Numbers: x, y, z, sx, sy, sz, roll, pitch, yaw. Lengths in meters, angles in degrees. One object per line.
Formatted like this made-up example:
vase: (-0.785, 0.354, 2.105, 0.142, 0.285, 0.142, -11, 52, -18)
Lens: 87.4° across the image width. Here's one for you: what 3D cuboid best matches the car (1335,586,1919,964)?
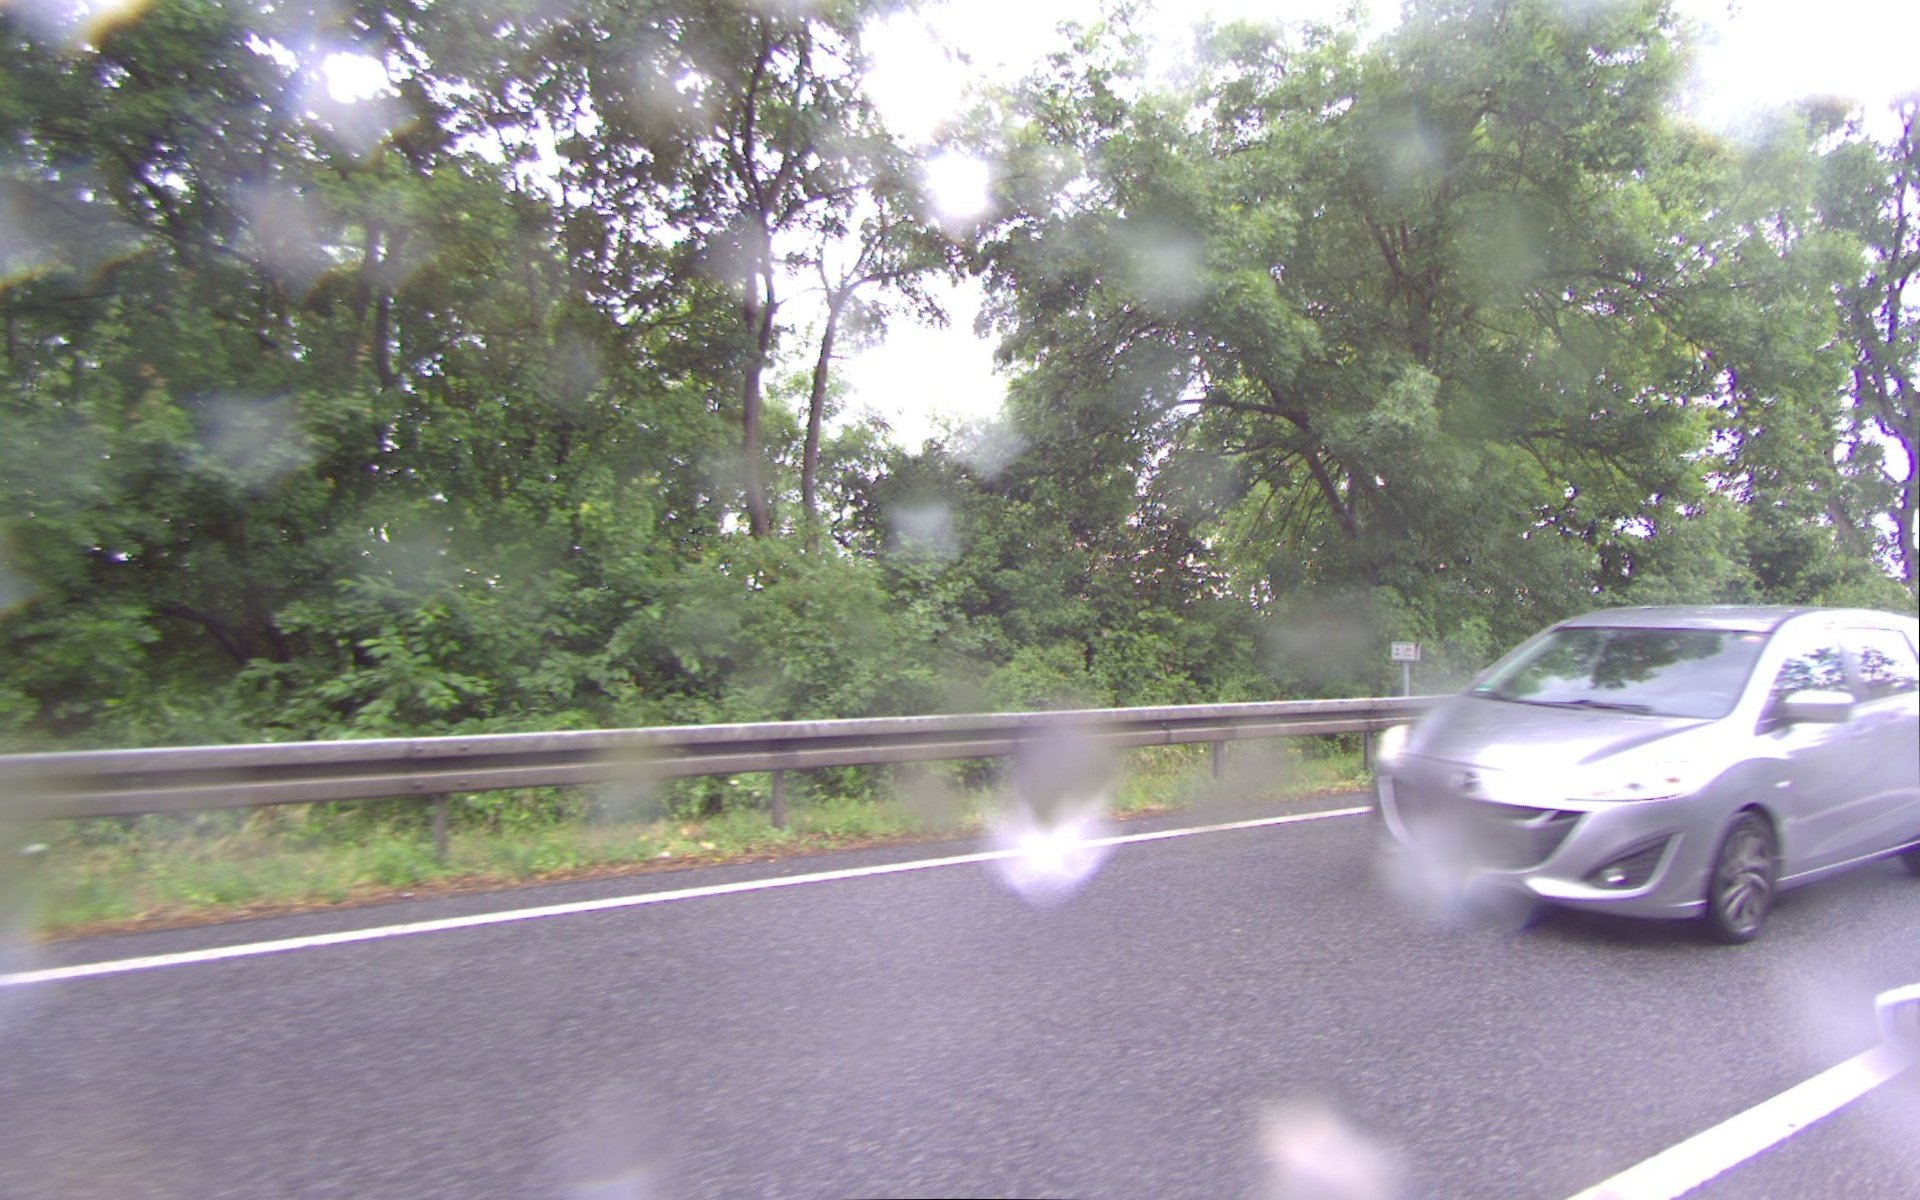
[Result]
car: (4.424, 0.778, 6.066, 4.322, 1.595, 1.684, 1, 0, -30)
